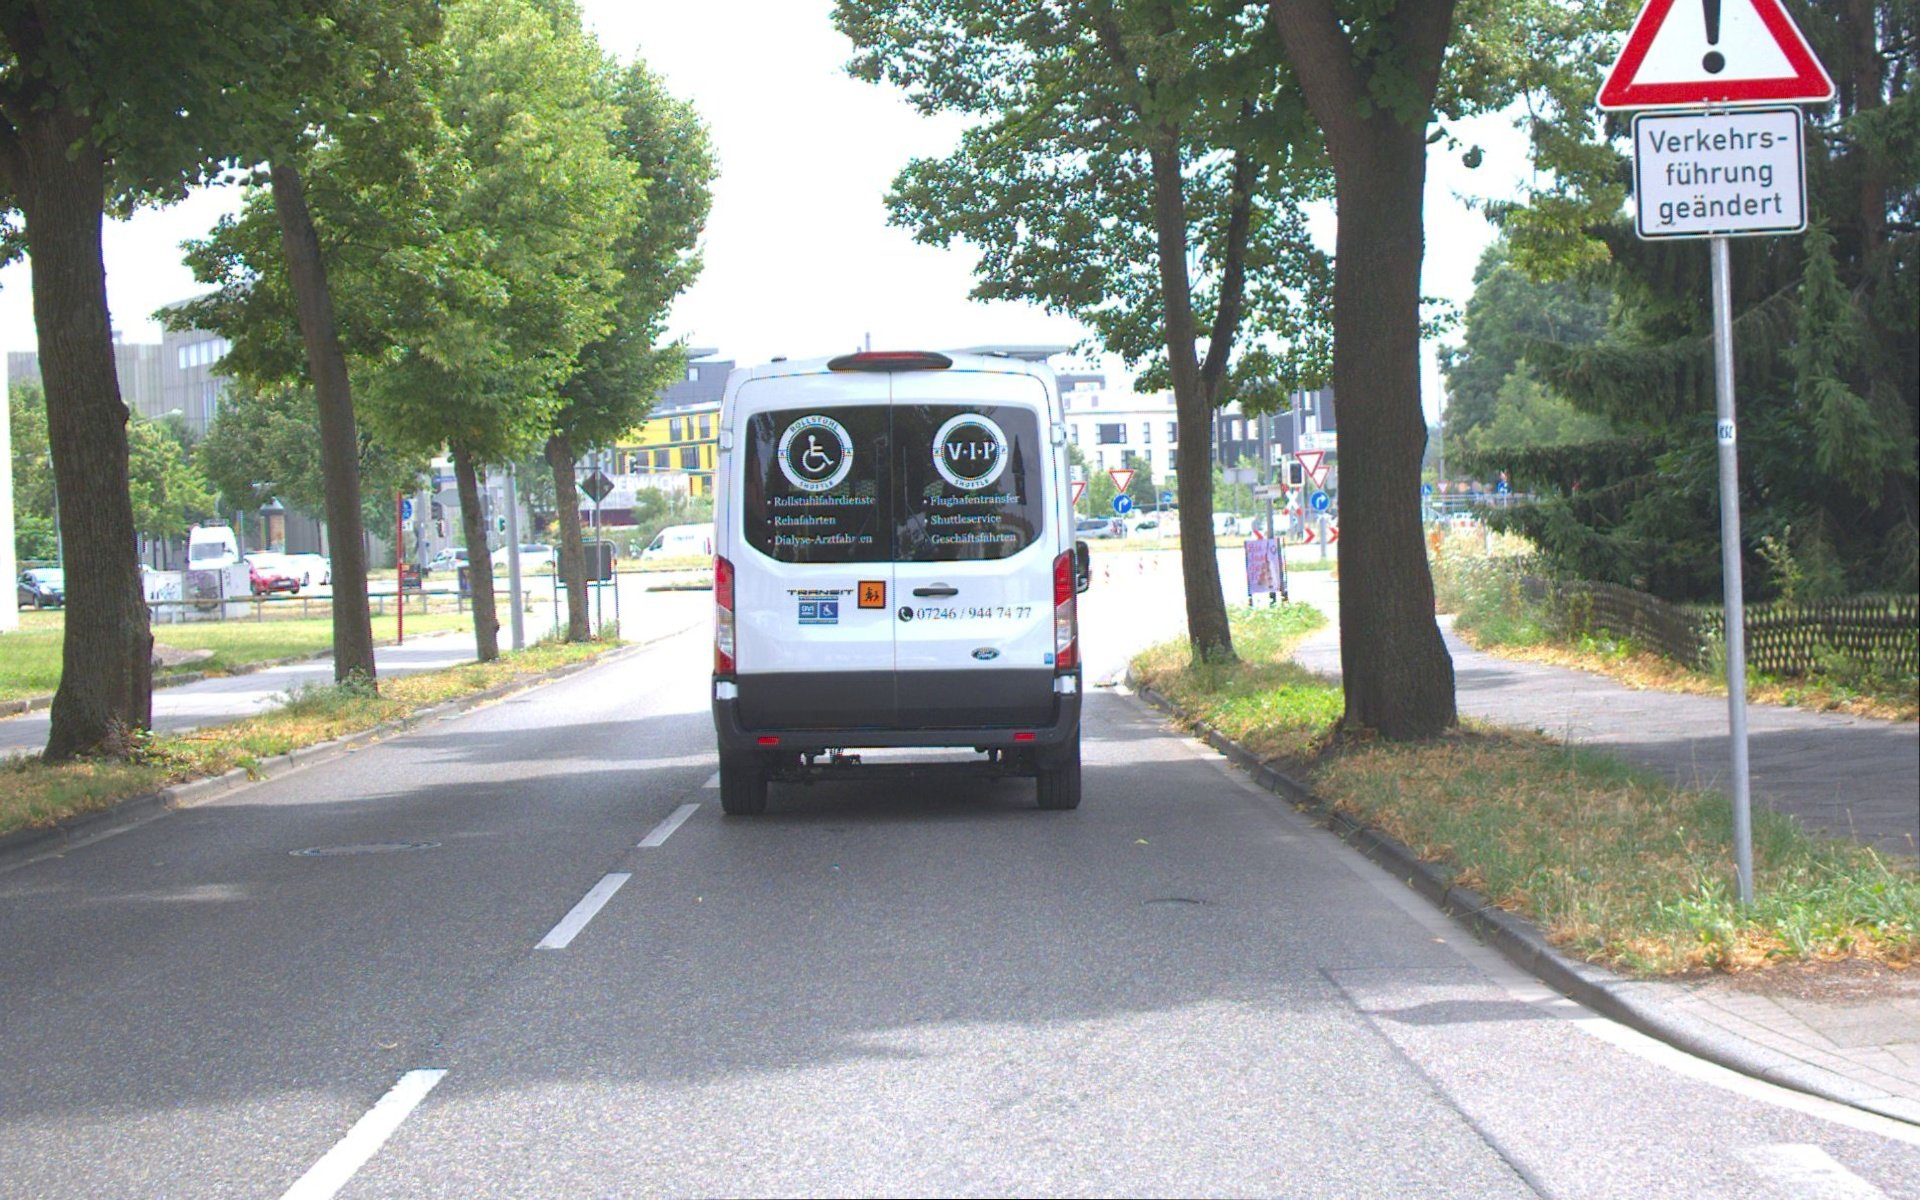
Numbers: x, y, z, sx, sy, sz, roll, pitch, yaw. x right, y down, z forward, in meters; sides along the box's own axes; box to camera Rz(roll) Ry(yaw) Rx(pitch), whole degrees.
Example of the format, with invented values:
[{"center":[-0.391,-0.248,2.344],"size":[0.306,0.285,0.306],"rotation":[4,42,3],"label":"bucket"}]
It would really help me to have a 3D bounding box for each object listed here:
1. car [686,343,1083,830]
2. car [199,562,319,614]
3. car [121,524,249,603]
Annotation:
[{"center":[-0.458,-0.089,19.980],"size":[2.062,2.531,4.000],"rotation":[0,0,-2],"label":"car"},{"center":[-25.754,-0.437,126.302],"size":[3.994,1.656,1.888],"rotation":[-3,2,32],"label":"car"},{"center":[-30.917,-1.429,136.990],"size":[2.612,2.841,5.673],"rotation":[-5,2,-38],"label":"car"}]
